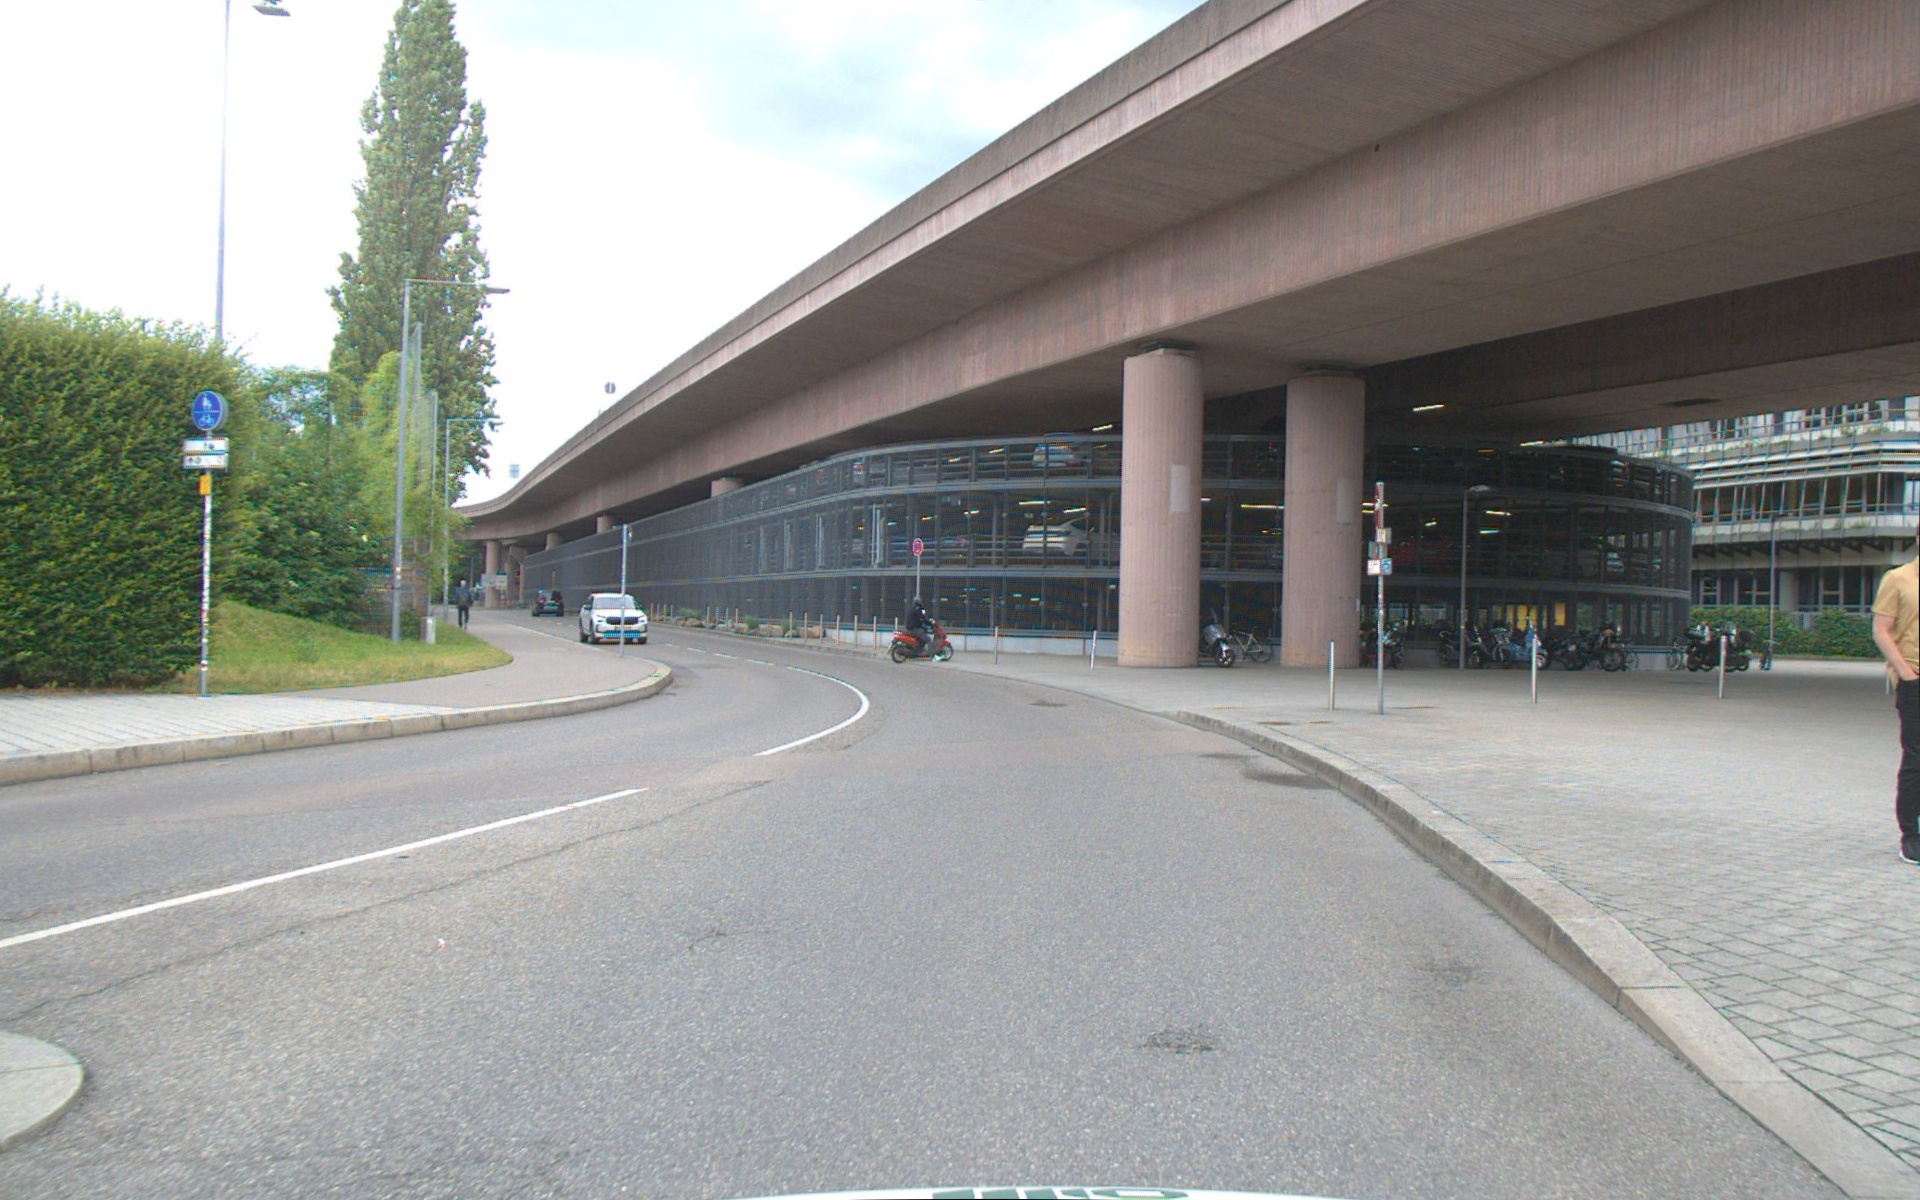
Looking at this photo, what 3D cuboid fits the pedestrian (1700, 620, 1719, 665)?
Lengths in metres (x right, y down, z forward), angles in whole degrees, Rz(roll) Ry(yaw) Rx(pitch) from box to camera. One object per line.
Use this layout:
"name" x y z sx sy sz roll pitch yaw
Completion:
"pedestrian" 34.036 1.924 75.075 0.517 2.049 0.572 2 -1 -10

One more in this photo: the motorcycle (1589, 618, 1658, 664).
"motorcycle" 19.185 1.170 47.847 0.662 1.241 2.068 1 1 -19

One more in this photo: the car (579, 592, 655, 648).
"car" -11.630 0.636 55.919 1.837 1.713 4.378 1 1 -21

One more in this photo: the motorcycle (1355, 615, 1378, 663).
"motorcycle" 10.878 1.033 44.282 0.509 1.241 1.151 1 1 11

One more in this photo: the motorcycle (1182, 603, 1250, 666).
"motorcycle" 6.368 0.836 41.172 0.636 1.480 1.741 1 1 -35

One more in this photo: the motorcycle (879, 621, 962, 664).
"motorcycle" -0.985 1.055 41.112 1.922 1.040 0.744 1 1 -21

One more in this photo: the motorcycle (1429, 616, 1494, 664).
"motorcycle" 14.004 1.096 46.239 0.661 1.241 2.068 1 1 -18

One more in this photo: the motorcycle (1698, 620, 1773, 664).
"motorcycle" 23.999 1.299 51.221 0.661 1.241 2.351 1 1 -18

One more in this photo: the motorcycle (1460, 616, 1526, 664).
"motorcycle" 14.952 1.113 46.485 0.661 1.241 2.068 1 1 -18

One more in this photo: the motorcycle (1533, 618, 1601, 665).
"motorcycle" 17.226 1.168 46.974 0.661 1.241 2.068 1 1 -18

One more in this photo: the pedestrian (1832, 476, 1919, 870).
"pedestrian" 5.298 0.379 9.050 0.766 2.048 1.039 2 1 22

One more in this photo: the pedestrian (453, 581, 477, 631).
"pedestrian" -18.374 0.221 61.400 0.792 1.812 0.915 1 1 -20

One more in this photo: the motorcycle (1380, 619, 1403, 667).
"motorcycle" 10.899 1.093 41.751 0.509 1.191 1.151 1 -2 17

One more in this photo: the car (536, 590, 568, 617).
"car" -27.511 0.218 111.443 1.812 1.741 3.685 1 1 -19

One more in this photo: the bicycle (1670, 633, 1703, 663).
"bicycle" 23.419 1.553 53.287 0.467 0.911 1.494 2 1 45

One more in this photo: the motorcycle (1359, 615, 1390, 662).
"motorcycle" 11.431 1.050 45.598 0.510 1.241 1.150 1 1 -1

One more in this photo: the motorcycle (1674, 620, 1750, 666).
"motorcycle" 22.898 1.294 50.409 0.661 1.298 2.351 1 1 -18

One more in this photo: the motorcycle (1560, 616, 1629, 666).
"motorcycle" 18.197 1.168 47.472 0.661 1.308 2.068 1 1 -18

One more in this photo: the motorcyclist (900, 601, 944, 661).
"motorcyclist" -0.948 0.767 41.134 0.855 1.444 0.759 1 1 -22

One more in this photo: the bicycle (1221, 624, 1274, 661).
"bicycle" 8.195 1.219 47.144 1.441 0.993 0.452 1 1 6

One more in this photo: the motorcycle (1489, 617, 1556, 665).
"motorcycle" 15.963 1.149 46.965 0.661 1.241 2.068 1 1 -18
